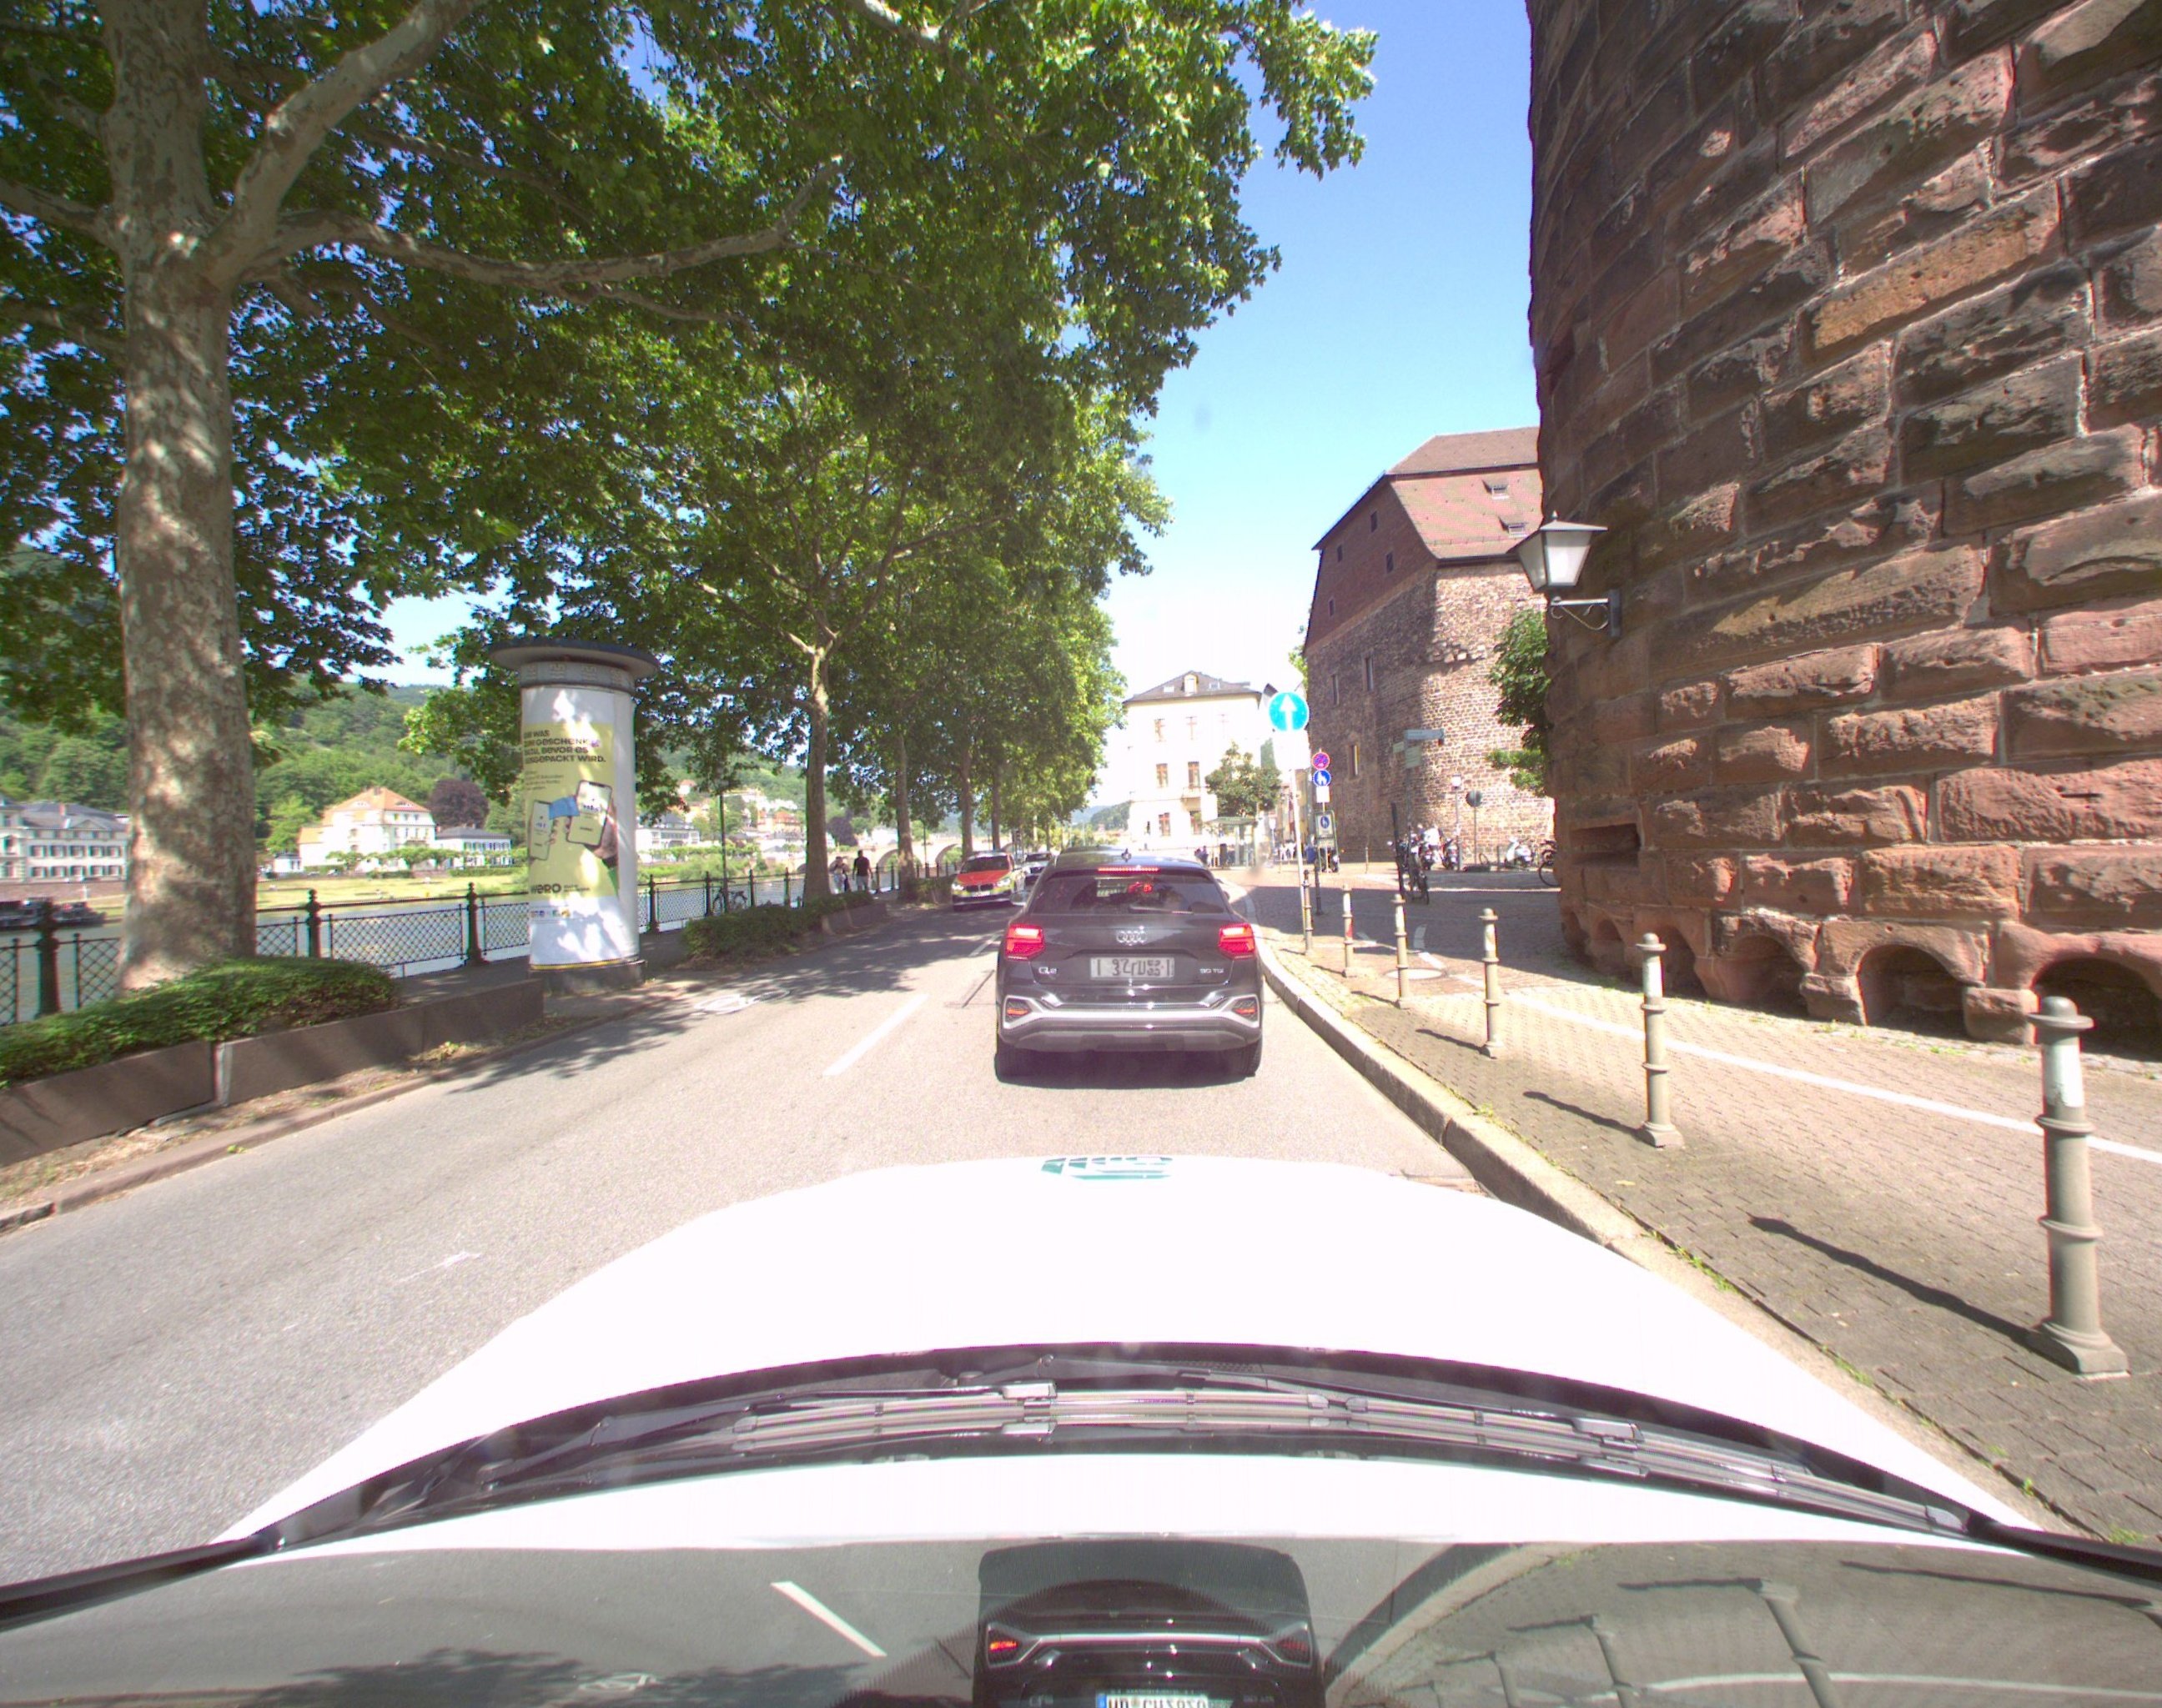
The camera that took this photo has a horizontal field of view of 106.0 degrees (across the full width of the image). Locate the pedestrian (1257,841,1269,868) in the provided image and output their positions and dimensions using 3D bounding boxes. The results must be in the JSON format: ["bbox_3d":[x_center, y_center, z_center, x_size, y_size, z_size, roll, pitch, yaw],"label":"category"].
[{"bbox_3d":[9.513,0.013,42.572,0.555,1.385,0.588,-1,-1,4],"label":"pedestrian"}]

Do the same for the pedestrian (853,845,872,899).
[{"bbox_3d":[-7.635,0.633,28.484,0.532,1.887,0.437,0,0,1],"label":"pedestrian"}]

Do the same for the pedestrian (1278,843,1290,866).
[{"bbox_3d":[17.845,0.035,71.538,0.836,2.014,0.738,-1,-1,2],"label":"pedestrian"}]

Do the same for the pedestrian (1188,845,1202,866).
[{"bbox_3d":[6.826,0.104,48.826,0.662,1.231,0.640,0,-1,-5],"label":"pedestrian"}]

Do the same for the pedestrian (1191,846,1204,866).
[{"bbox_3d":[6.877,0.122,48.085,0.662,1.211,0.640,0,-1,-5],"label":"pedestrian"}]

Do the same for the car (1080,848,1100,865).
[{"bbox_3d":[1.059,0.264,90.684,1.985,1.806,4.003,-1,-1,3],"label":"car"}]

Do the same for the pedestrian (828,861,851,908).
[{"bbox_3d":[-7.280,0.912,24.567,0.476,1.362,0.418,-3,0,5],"label":"pedestrian"}]

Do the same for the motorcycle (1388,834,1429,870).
[{"bbox_3d":[11.976,-0.070,29.886,0.653,1.266,2.201,-2,-1,2],"label":"motorcycle"}]

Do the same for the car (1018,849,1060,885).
[{"bbox_3d":[-2.158,0.635,42.519,1.762,1.660,4.001,-4,0,1],"label":"car"}]

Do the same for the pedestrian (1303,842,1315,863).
[{"bbox_3d":[18.137,-0.151,64.746,0.685,1.612,0.896,-4,0,22],"label":"pedestrian"}]

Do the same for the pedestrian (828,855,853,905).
[{"bbox_3d":[-8.271,0.881,28.008,0.599,1.685,0.583,-3,0,0],"label":"pedestrian"}]

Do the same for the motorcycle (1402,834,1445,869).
[{"bbox_3d":[12.840,-0.082,30.609,0.672,1.235,2.313,-1,-1,2],"label":"motorcycle"}]

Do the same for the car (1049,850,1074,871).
[{"bbox_3d":[-1.623,0.548,69.053,1.732,1.572,4.093,-6,0,2],"label":"car"}]

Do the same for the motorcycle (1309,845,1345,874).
[{"bbox_3d":[9.060,0.182,30.053,0.564,1.012,2.490,-3,0,1],"label":"motorcycle"}]

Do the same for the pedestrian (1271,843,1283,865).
[{"bbox_3d":[17.687,0.020,73.588,0.941,2.014,0.808,-1,-1,2],"label":"pedestrian"}]

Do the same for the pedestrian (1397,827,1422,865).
[{"bbox_3d":[15.669,-0.384,38.839,0.656,1.802,0.839,-1,0,-29],"label":"pedestrian"}]

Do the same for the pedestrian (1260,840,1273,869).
[{"bbox_3d":[11.952,0.047,52.504,0.744,1.890,0.753,-1,-1,4],"label":"pedestrian"}]

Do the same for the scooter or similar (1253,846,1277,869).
[{"bbox_3d":[8.906,0.162,39.345,1.085,1.066,0.323,0,-1,-1],"label":"scooter or similar"}]

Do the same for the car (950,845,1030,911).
[{"bbox_3d":[-2.620,0.645,24.356,1.667,1.660,4.224,-5,0,1],"label":"car"}]

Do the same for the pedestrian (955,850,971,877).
[{"bbox_3d":[-7.997,0.631,55.228,0.906,1.811,0.586,-1,-2,6],"label":"pedestrian"}]

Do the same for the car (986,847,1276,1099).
[{"bbox_3d":[0.357,0.702,6.713,1.736,1.509,3.649,0,0,2],"label":"car"}]

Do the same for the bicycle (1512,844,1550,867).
[{"bbox_3d":[16.631,0.050,30.144,0.352,0.820,1.926,-1,1,1],"label":"bicycle"}]

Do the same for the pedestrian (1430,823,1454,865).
[{"bbox_3d":[16.835,-0.438,37.952,0.674,1.920,0.811,0,-1,-42],"label":"pedestrian"}]

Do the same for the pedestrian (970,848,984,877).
[{"bbox_3d":[-7.399,0.600,58.008,0.906,2.014,0.587,-1,-1,6],"label":"pedestrian"}]

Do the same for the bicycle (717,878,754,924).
[{"bbox_3d":[-8.884,1.185,20.959,0.358,1.091,1.296,1,0,1],"label":"bicycle"}]

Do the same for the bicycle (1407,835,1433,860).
[{"bbox_3d":[16.602,-0.293,39.932,0.388,1.209,1.715,0,-1,-6],"label":"bicycle"}]

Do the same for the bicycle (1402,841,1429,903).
[{"bbox_3d":[6.852,0.333,16.719,0.192,1.203,1.775,-2,1,13],"label":"bicycle"}]

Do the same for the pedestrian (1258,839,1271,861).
[{"bbox_3d":[14.085,-0.281,62.499,0.773,1.621,0.646,-3,0,4],"label":"pedestrian"}]

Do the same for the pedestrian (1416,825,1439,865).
[{"bbox_3d":[14.753,-0.394,34.678,0.799,1.662,0.660,-3,0,26],"label":"pedestrian"}]

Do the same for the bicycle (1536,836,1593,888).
[{"bbox_3d":[11.547,0.175,19.505,0.444,1.162,1.733,-2,0,5],"label":"bicycle"}]

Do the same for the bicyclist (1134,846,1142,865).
[{"bbox_3d":[4.369,0.121,62.452,0.604,1.450,0.590,0,-1,-3],"label":"bicyclist"}]

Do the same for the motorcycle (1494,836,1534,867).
[{"bbox_3d":[15.461,-0.063,29.126,0.505,1.073,1.841,-1,-1,2],"label":"motorcycle"}]

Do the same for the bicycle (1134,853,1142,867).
[{"bbox_3d":[4.369,0.467,62.473,0.436,1.086,1.675,0,-1,-2],"label":"bicycle"}]

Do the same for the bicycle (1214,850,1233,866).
[{"bbox_3d":[8.667,0.239,49.510,1.187,1.016,0.178,0,-1,-17],"label":"bicycle"}]

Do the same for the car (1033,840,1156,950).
[{"bbox_3d":[0.251,0.595,13.597,1.786,1.595,3.400,0,0,2],"label":"car"}]

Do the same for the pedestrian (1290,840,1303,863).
[{"bbox_3d":[18.779,-0.238,71.019,0.936,2.014,0.808,-1,-1,4],"label":"pedestrian"}]

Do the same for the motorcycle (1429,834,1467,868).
[{"bbox_3d":[13.748,-0.111,30.571,0.544,1.235,2.031,-1,-1,2],"label":"motorcycle"}]

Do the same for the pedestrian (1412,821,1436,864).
[{"bbox_3d":[16.474,-0.535,39.123,0.729,2.014,0.876,0,-1,-7],"label":"pedestrian"}]

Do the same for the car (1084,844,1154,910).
[{"bbox_3d":[1.014,0.578,22.209,1.704,1.609,3.656,-1,0,2],"label":"car"}]

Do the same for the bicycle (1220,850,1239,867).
[{"bbox_3d":[8.909,0.254,48.880,1.205,1.035,0.178,0,-1,-17],"label":"bicycle"}]

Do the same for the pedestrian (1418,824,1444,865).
[{"bbox_3d":[16.095,-0.423,37.439,0.673,1.884,0.812,0,-1,-33],"label":"pedestrian"}]

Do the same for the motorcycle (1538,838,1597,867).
[{"bbox_3d":[18.415,-0.045,30.831,1.854,1.054,0.481,-1,-1,9],"label":"motorcycle"}]

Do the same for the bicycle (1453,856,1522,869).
[{"bbox_3d":[13.627,0.280,27.356,1.914,0.381,0.921,-2,-1,16],"label":"bicycle"}]
